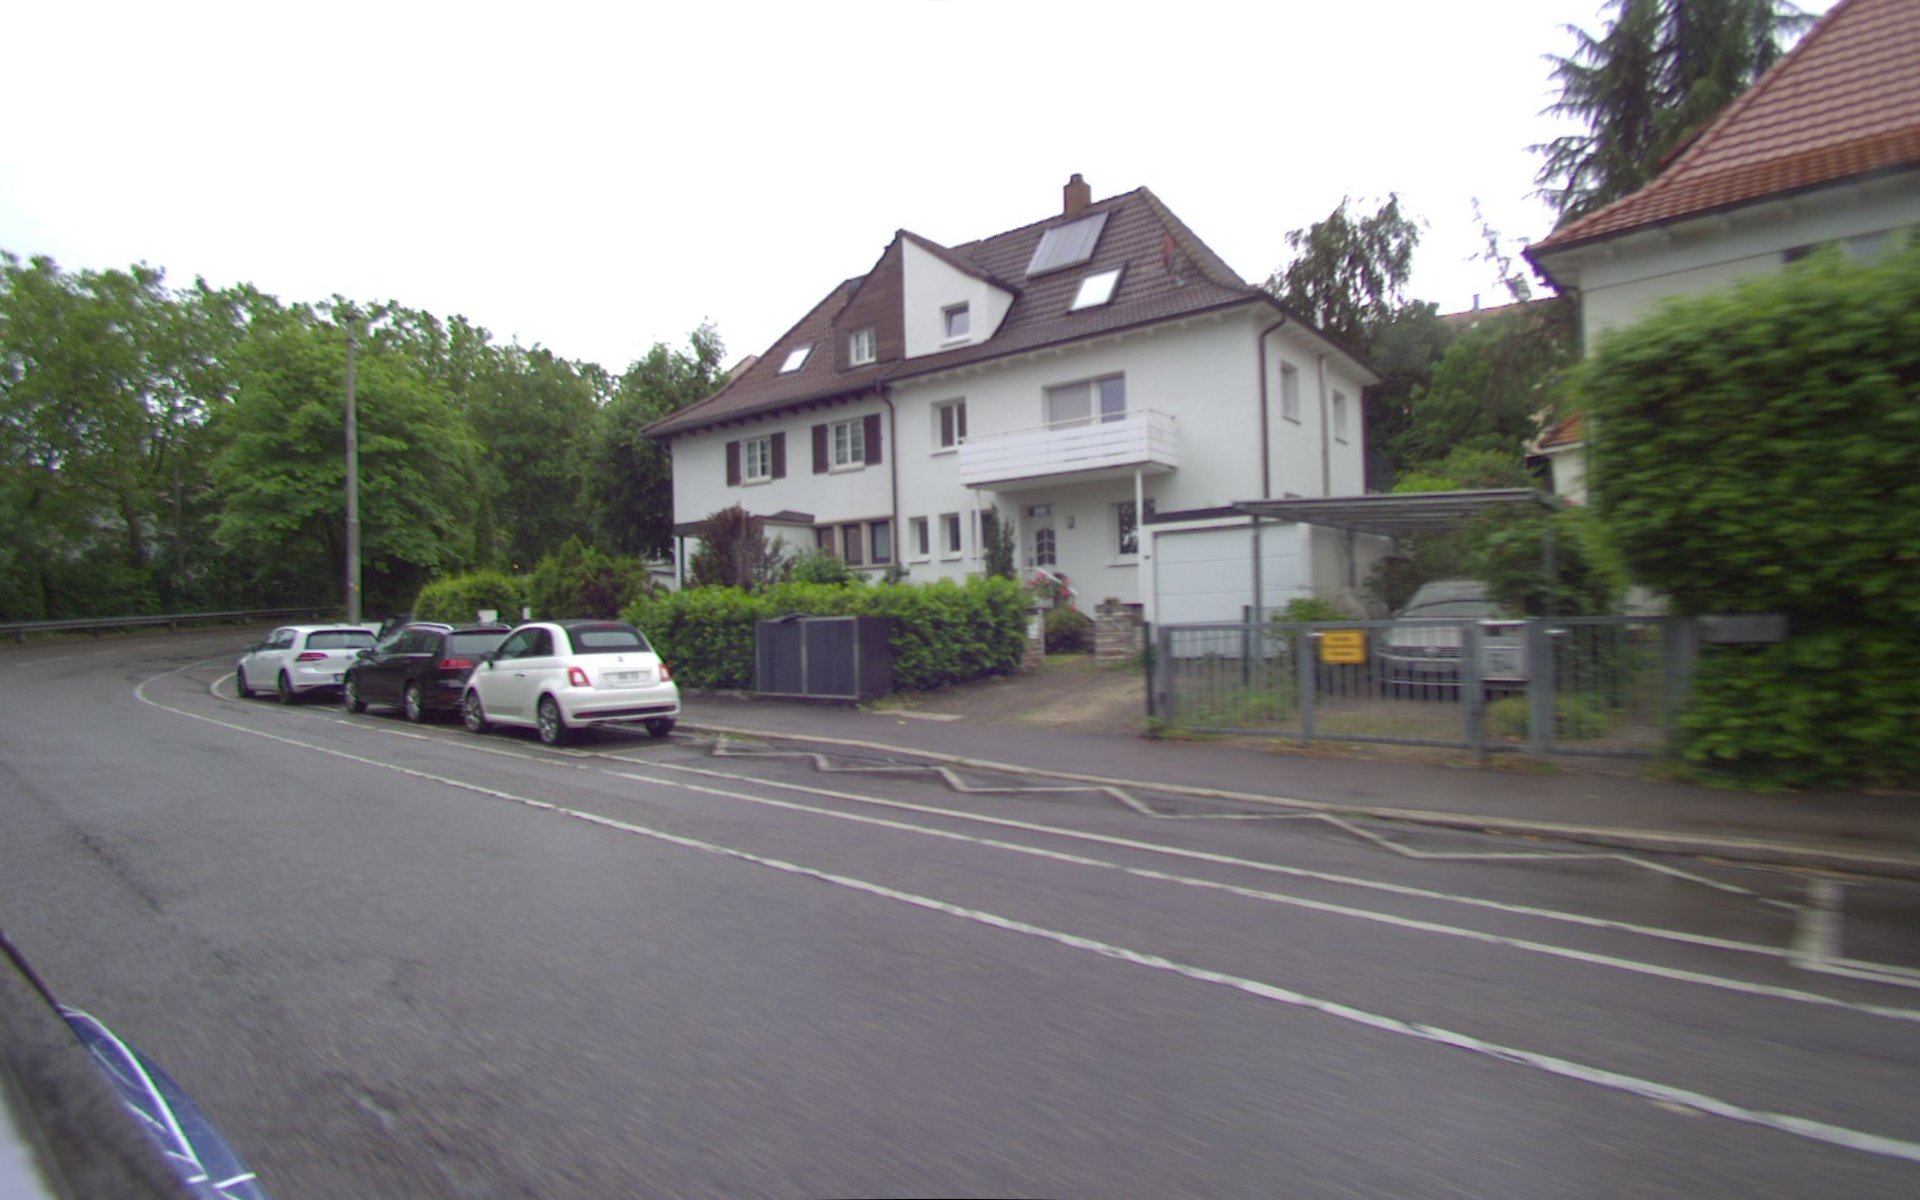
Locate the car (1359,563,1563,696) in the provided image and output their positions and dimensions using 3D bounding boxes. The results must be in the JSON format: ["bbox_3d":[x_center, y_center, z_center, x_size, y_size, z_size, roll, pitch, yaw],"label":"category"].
[{"bbox_3d":[7.185,0.304,14.310,1.660,1.458,3.947,0,4,41],"label":"car"}]

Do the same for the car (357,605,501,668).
[{"bbox_3d":[-15.844,1.051,30.317,1.820,1.531,3.307,-1,4,37],"label":"car"}]

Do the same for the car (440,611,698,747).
[{"bbox_3d":[-5.228,0.930,13.319,3.711,1.479,1.680,-1,0,43],"label":"car"}]

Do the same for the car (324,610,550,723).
[{"bbox_3d":[-8.516,0.984,16.301,4.420,1.536,1.681,-1,0,41],"label":"car"}]

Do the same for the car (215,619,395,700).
[{"bbox_3d":[-12.968,1.138,19.951,4.278,1.433,1.716,-2,-3,39],"label":"car"}]

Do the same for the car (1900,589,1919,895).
[{"bbox_3d":[5.826,0.610,3.065,4.211,1.429,1.671,-2,-2,40],"label":"car"}]
